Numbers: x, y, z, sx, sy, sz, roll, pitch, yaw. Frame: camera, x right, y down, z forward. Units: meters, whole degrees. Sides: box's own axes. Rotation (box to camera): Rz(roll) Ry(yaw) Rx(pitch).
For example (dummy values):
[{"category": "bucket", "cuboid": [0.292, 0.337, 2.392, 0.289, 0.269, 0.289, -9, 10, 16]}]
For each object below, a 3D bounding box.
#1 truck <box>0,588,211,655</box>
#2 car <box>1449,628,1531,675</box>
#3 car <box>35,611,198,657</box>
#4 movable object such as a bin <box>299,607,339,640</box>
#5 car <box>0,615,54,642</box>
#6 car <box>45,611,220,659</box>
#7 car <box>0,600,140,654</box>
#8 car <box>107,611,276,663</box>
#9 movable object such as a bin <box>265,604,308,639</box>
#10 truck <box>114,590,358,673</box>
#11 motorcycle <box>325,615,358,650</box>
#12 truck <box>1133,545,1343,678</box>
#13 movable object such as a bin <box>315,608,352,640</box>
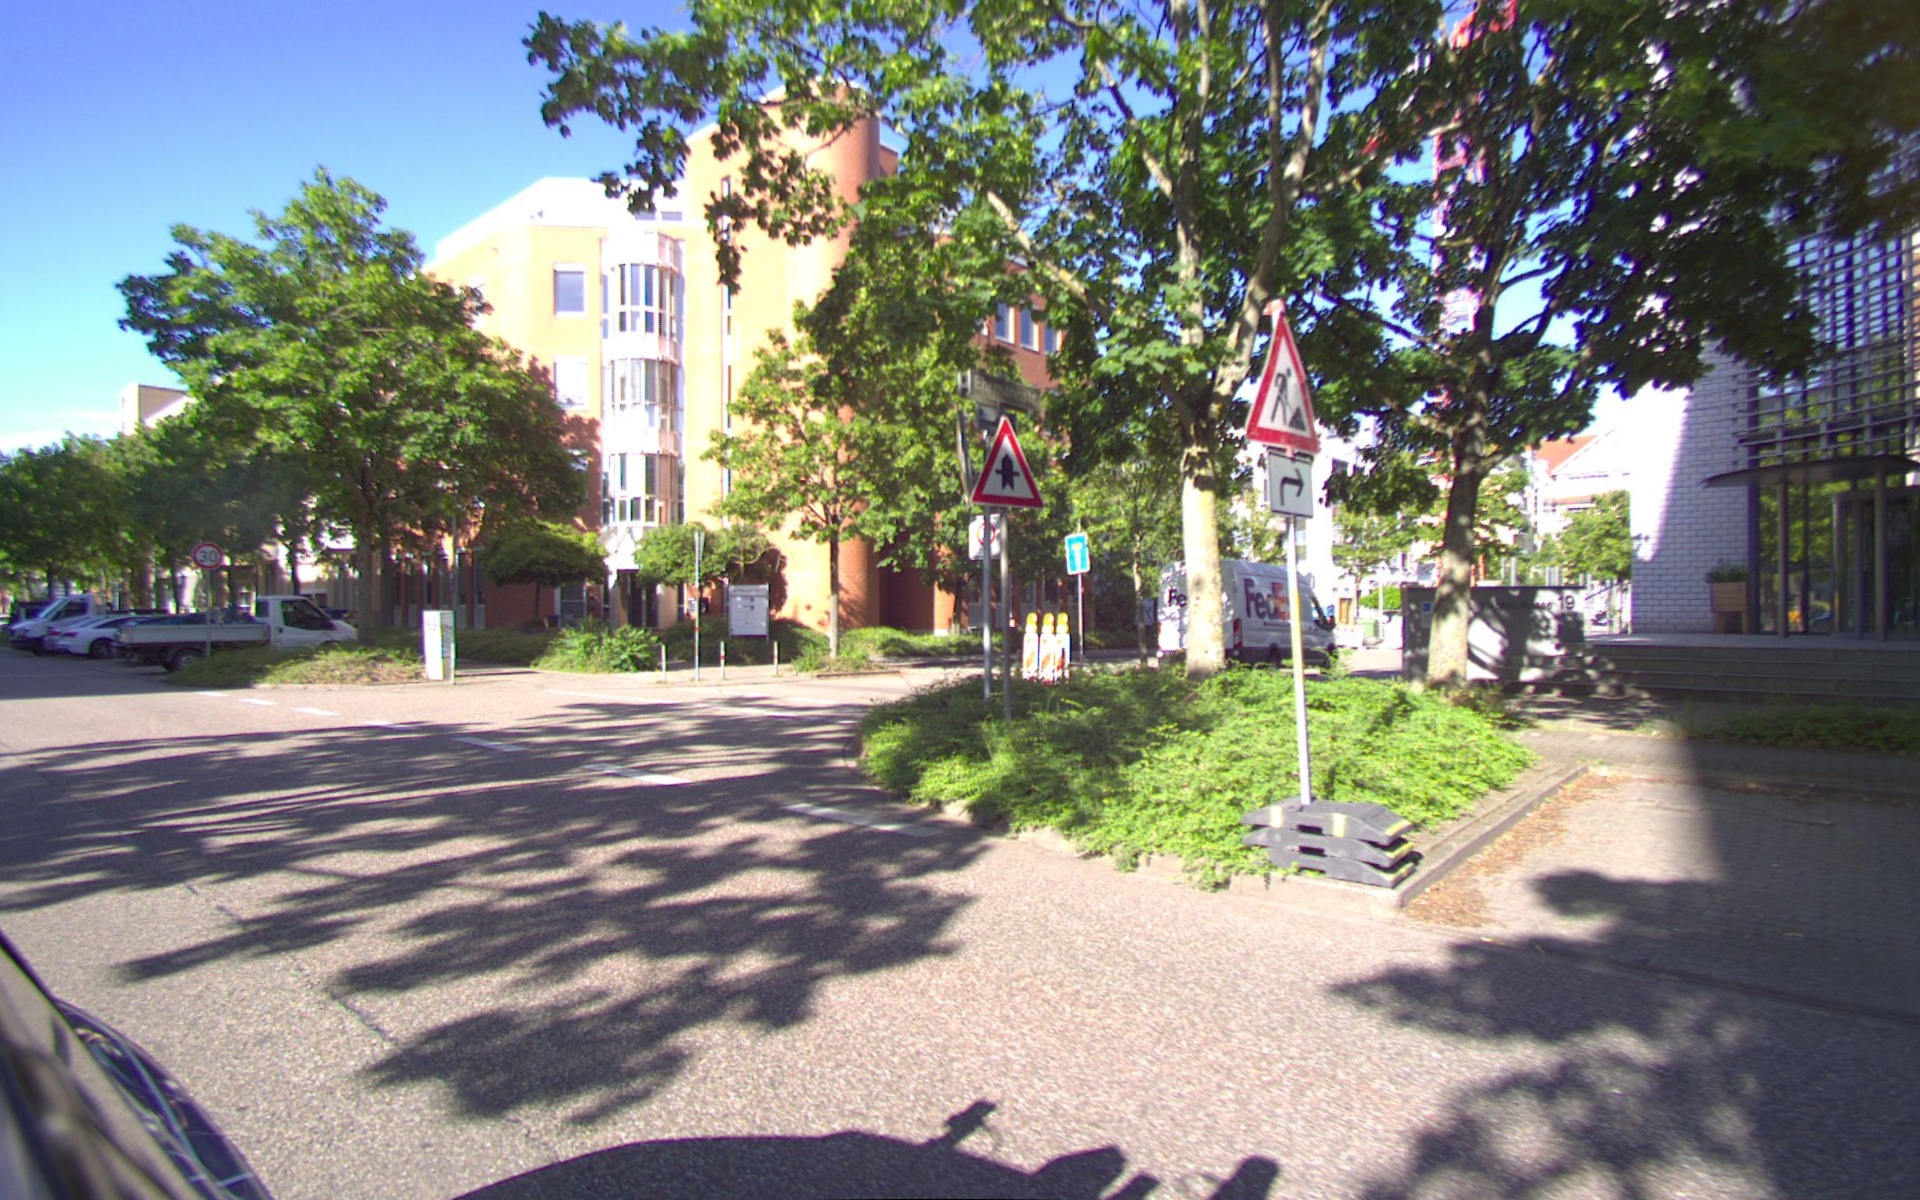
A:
[{"category": "truck", "cuboid": [-33.530, 0.847, 39.836, 2.187, 2.440, 6.166, -1, -2, 42]}, {"category": "car", "cuboid": [21.001, 1.987, 40.025, 2.009, 1.690, 3.945, -1, -2, 42]}, {"category": "car", "cuboid": [-31.337, 1.219, 37.693, 1.998, 1.498, 4.383, -1, 0, 40]}, {"category": "movable object such as a bin", "cuboid": [-32.126, 1.167, 50.733, 1.436, 1.632, 1.137, -1, -1, 29]}, {"category": "car", "cuboid": [-54.869, 1.669, 58.366, 1.753, 1.463, 3.716, -1, 1, 40]}, {"category": "car", "cuboid": [-29.179, 1.202, 35.799, 1.888, 1.453, 4.496, -2, 0, 40]}, {"category": "car", "cuboid": [-37.839, 1.074, 42.928, 1.998, 2.067, 4.437, -1, 1, 39]}, {"category": "car", "cuboid": [-23.493, 1.092, 31.031, 1.790, 1.446, 3.941, -1, -1, 45]}, {"category": "movable object such as a bin", "cuboid": [-35.897, 1.129, 53.933, 1.664, 1.810, 1.581, -1, -1, 43]}, {"category": "truck", "cuboid": [-19.043, 0.810, 26.788, 2.138, 1.974, 4.930, -1, -2, 43]}, {"category": "motorcycle", "cuboid": [-28.834, 1.498, 47.171, 2.108, 1.603, 0.707, -1, -2, 40]}, {"category": "truck", "cuboid": [6.741, 0.291, 23.979, 2.575, 2.725, 6.043, -1, -1, 39]}, {"category": "movable object such as a bin", "cuboid": [-30.994, 1.190, 50.070, 1.239, 1.574, 1.137, -1, -1, 29]}]
